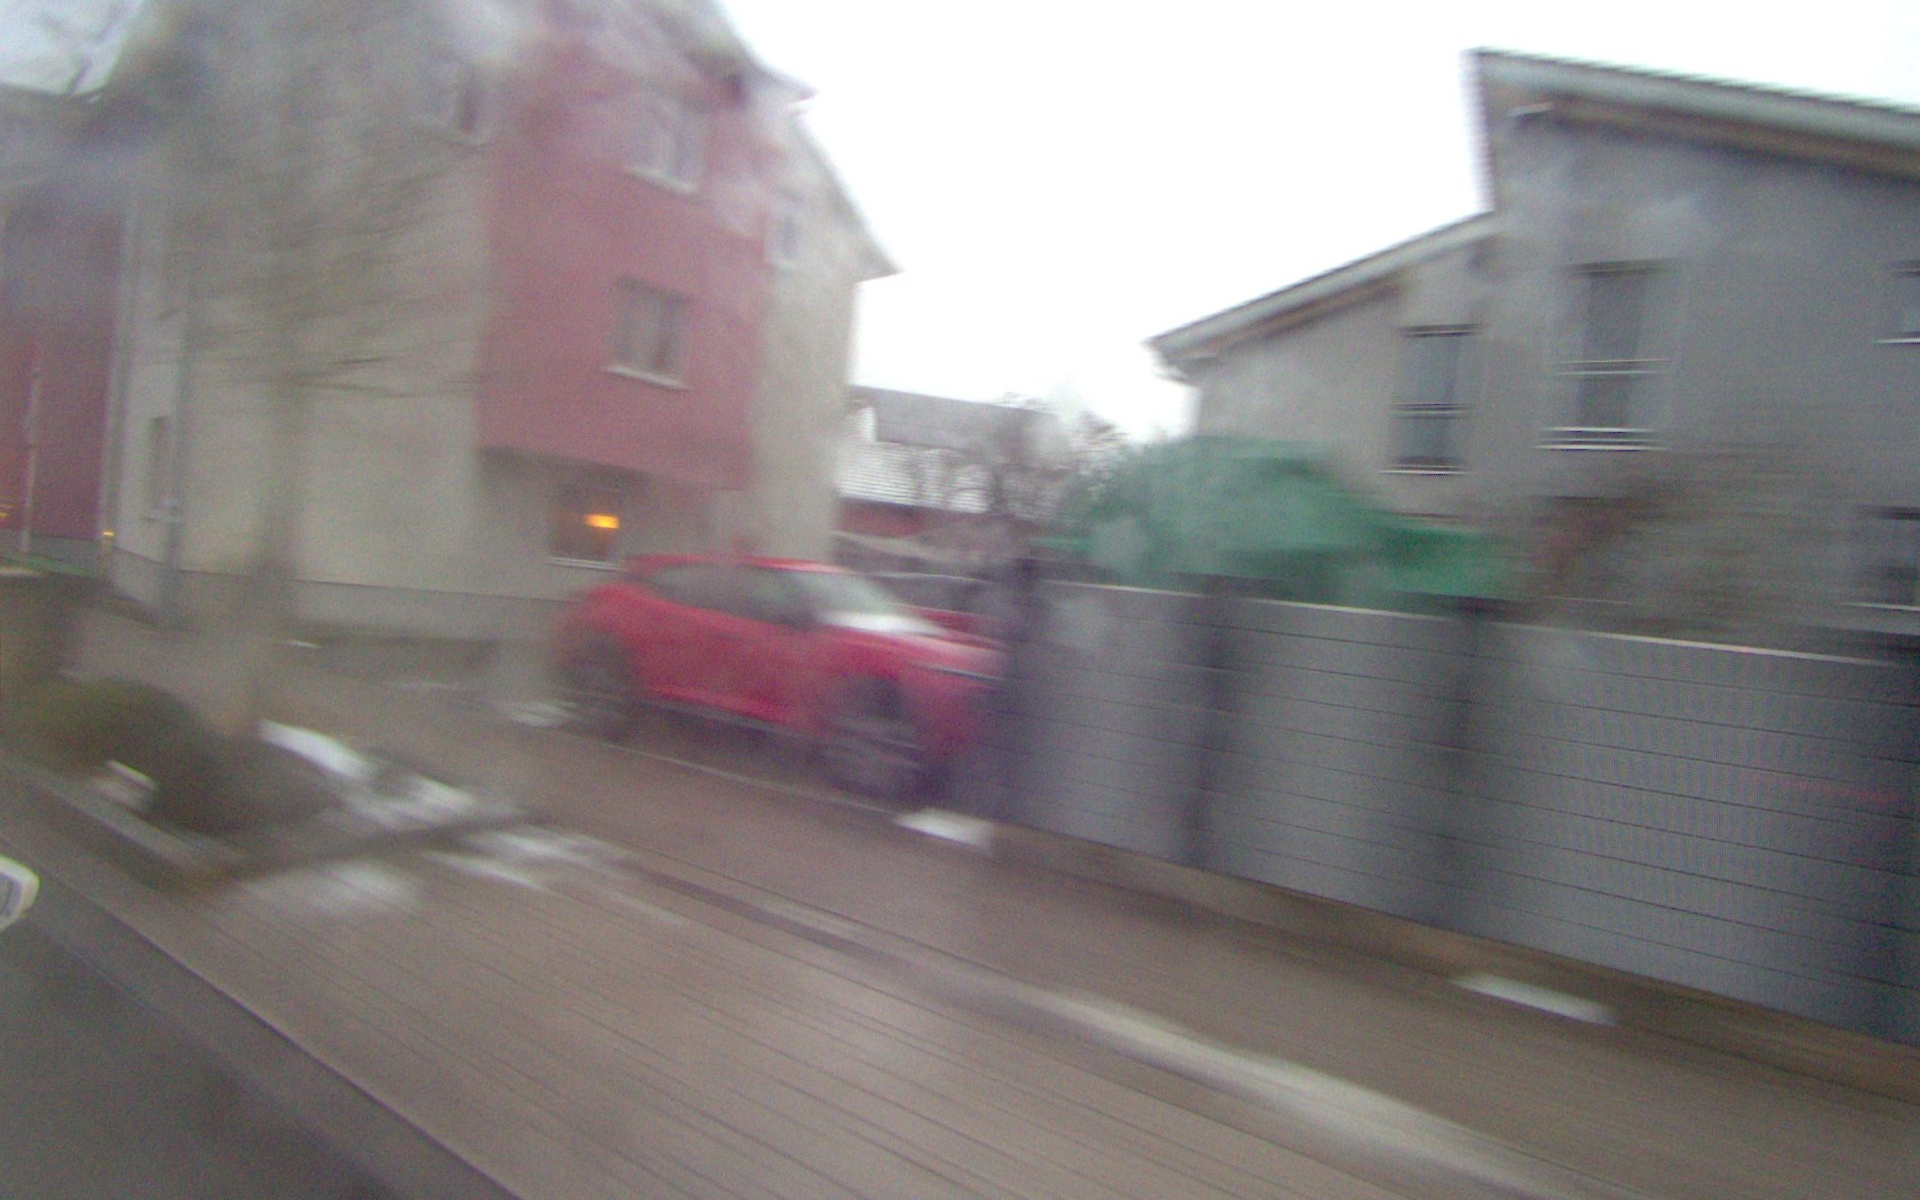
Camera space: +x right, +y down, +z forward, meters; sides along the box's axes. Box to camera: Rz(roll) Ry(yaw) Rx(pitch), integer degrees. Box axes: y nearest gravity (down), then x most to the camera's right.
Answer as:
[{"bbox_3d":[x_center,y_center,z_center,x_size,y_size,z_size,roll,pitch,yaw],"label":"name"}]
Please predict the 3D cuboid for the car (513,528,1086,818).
[{"bbox_3d":[-1.338,0.446,8.243,4.227,1.573,1.811,7,2,24],"label":"car"}]

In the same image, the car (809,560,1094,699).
[{"bbox_3d":[-0.074,0.456,14.587,3.738,1.613,1.686,5,2,-36],"label":"car"}]

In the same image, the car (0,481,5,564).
[{"bbox_3d":[-11.931,-0.721,10.574,4.122,1.470,1.703,7,2,31],"label":"car"}]
